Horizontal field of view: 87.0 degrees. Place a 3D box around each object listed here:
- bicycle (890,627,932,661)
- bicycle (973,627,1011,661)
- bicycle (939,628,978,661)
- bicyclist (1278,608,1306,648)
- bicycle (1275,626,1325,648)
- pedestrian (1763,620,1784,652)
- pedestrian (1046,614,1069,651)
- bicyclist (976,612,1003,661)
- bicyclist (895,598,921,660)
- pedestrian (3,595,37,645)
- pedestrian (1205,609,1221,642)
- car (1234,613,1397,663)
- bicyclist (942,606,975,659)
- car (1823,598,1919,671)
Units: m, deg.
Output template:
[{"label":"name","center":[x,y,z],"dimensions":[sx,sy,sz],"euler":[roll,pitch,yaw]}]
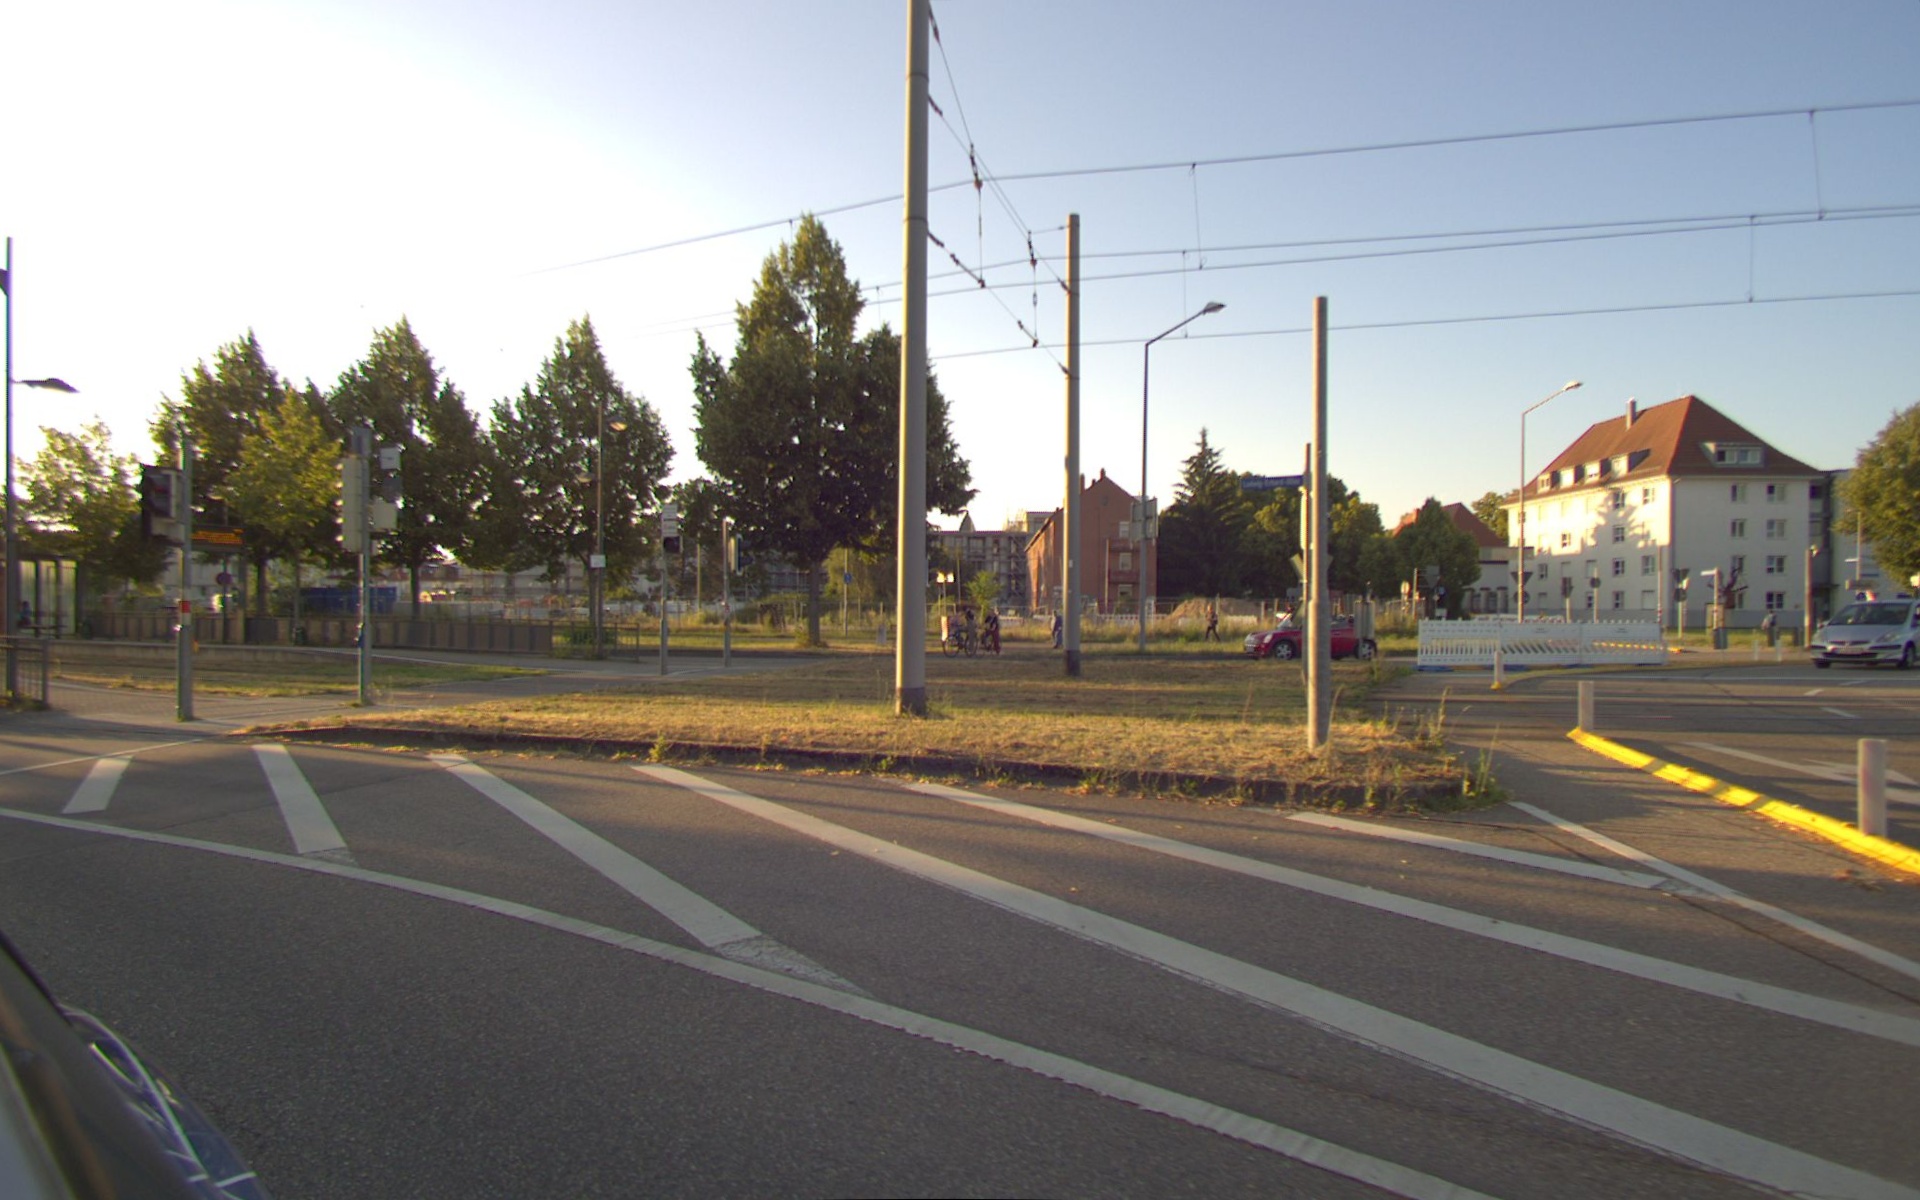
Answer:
[{"label":"bicycle","center":[-1.545,1.384,32.255],"dimensions":[0.547,0.988,1.828],"euler":[0,-1,24]},{"label":"bicycle","center":[1.031,1.372,31.776],"dimensions":[0.534,0.988,1.828],"euler":[0,-1,24]},{"label":"bicycle","center":[-0.026,1.396,32.209],"dimensions":[0.547,0.988,1.828],"euler":[0,-1,24]},{"label":"bicyclist","center":[13.678,1.154,41.703],"dimensions":[0.785,1.646,0.698],"euler":[0,-1,-19]},{"label":"bicycle","center":[14.073,1.521,41.858],"dimensions":[2.098,0.852,0.514],"euler":[0,-1,-20]},{"label":"pedestrian","center":[42.303,1.876,52.640],"dimensions":[0.586,1.633,0.567],"euler":[0,-1,-2]},{"label":"pedestrian","center":[3.666,1.213,37.932],"dimensions":[0.691,1.376,0.614],"euler":[0,-1,25]},{"label":"bicyclist","center":[0.931,1.129,31.574],"dimensions":[0.589,1.517,0.808],"euler":[0,-1,24]},{"label":"bicyclist","center":[-1.641,0.899,32.067],"dimensions":[0.612,1.933,0.672],"euler":[0,-1,25]},{"label":"pedestrian","center":[-31.660,0.664,34.086],"dimensions":[0.443,1.645,0.704],"euler":[0,-1,19]},{"label":"pedestrian","center":[10.491,1.056,42.013],"dimensions":[0.495,1.376,0.435],"euler":[0,-1,-10]},{"label":"car","center":[9.972,1.044,28.501],"dimensions":[3.934,1.342,1.838],"euler":[0,-1,-11]},{"label":"bicyclist","center":[-0.051,1.025,32.247],"dimensions":[0.810,1.652,0.808],"euler":[0,-1,25]},{"label":"car","center":[20.484,0.709,21.985],"dimensions":[3.648,1.476,1.611],"euler":[0,-1,-32]}]
